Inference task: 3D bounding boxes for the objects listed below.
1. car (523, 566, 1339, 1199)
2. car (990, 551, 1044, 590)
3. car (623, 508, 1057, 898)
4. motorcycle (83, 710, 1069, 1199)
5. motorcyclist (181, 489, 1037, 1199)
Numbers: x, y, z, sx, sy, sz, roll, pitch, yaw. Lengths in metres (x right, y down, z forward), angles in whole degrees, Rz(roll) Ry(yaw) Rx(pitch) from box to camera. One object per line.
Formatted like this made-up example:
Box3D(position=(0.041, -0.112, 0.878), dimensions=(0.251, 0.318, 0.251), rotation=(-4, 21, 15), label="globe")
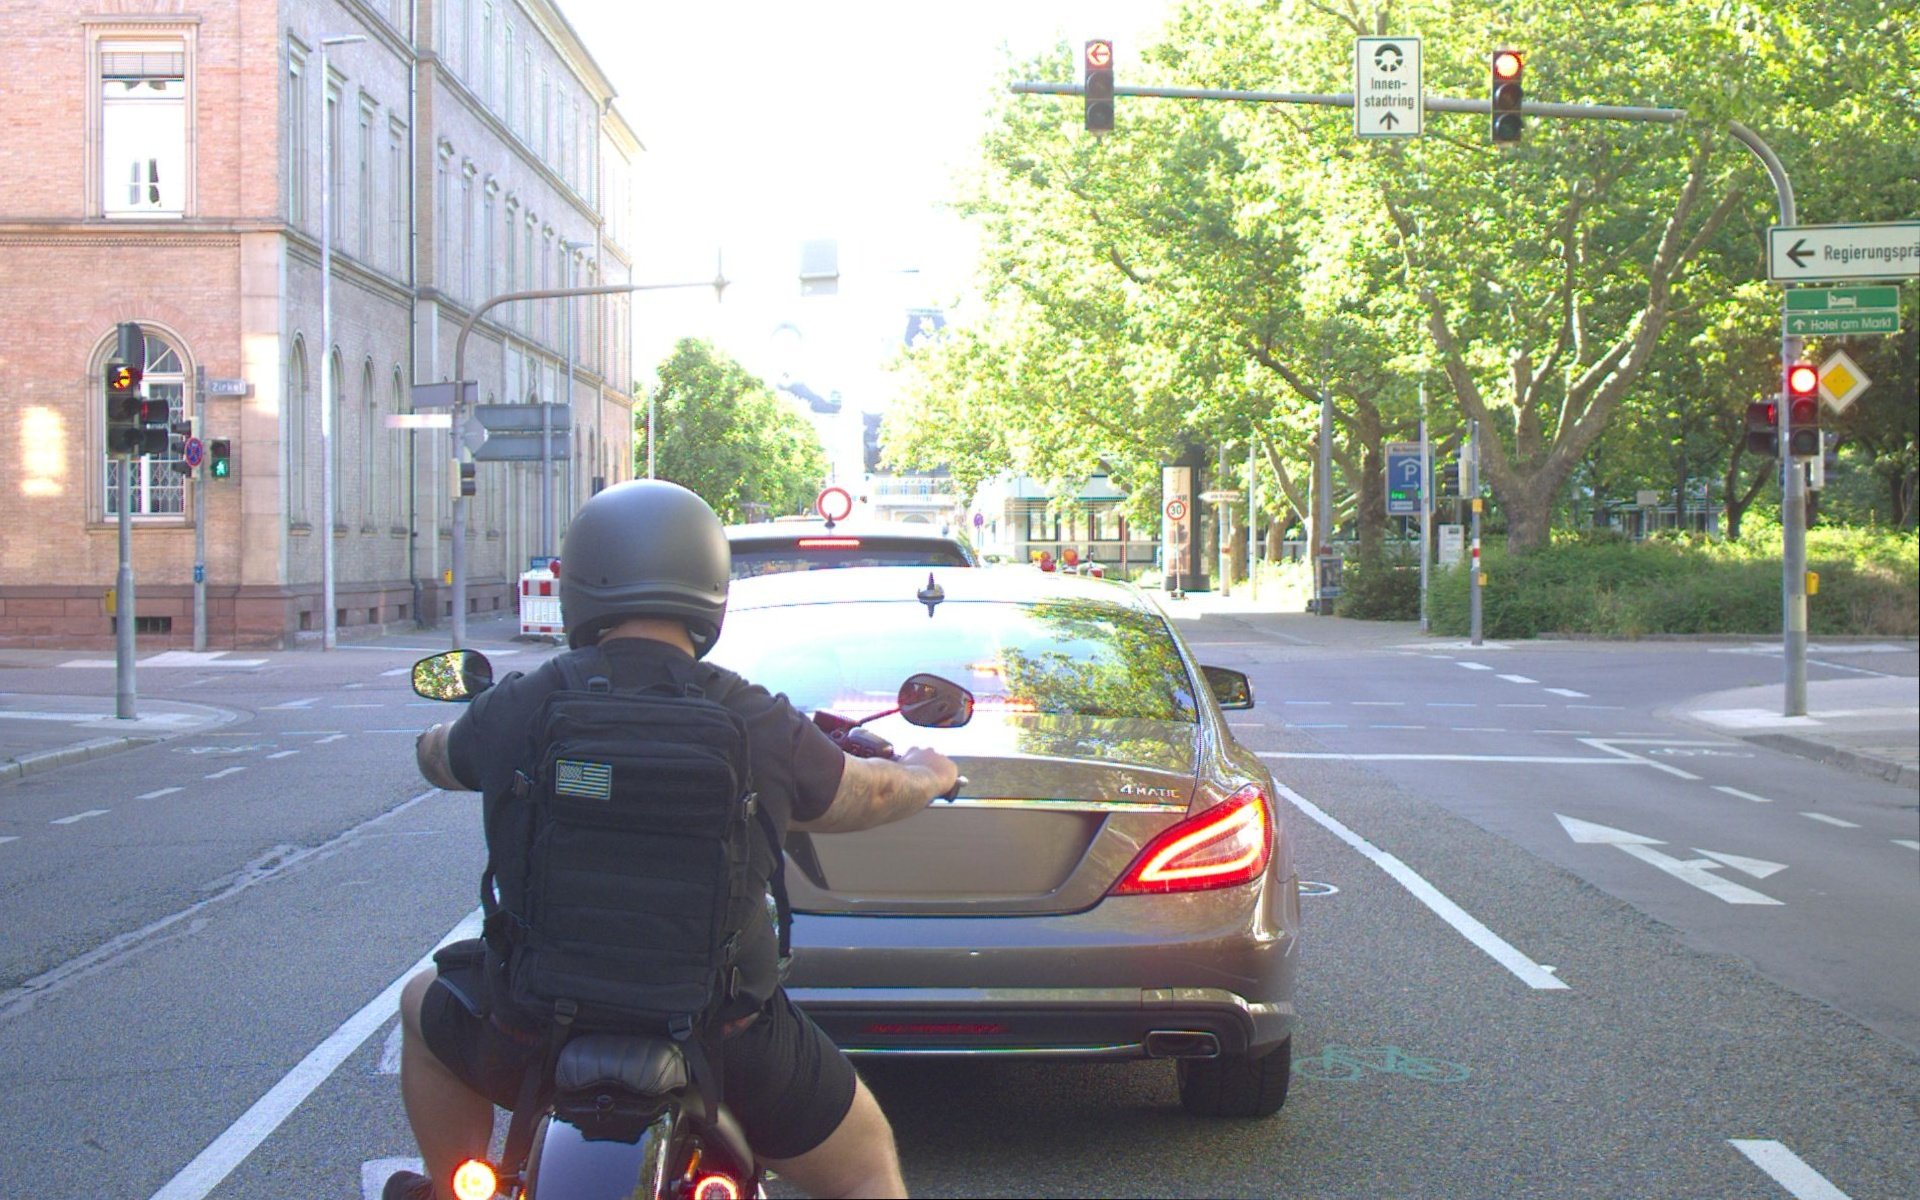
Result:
Box3D(position=(-0.086, 0.635, 9.661), dimensions=(1.822, 1.432, 3.806), rotation=(1, 1, -1), label="car")
Box3D(position=(1.858, -0.966, 112.710), dimensions=(1.631, 1.255, 3.716), rotation=(1, 1, -1), label="car")
Box3D(position=(-0.545, 0.429, 16.939), dimensions=(1.863, 1.672, 4.000), rotation=(1, 1, -1), label="car")
Box3D(position=(-0.469, 0.833, 5.496), dimensions=(1.118, 1.203, 2.212), rotation=(1, 1, 6), label="motorcycle")
Box3D(position=(-0.484, 0.629, 5.273), dimensions=(1.099, 1.560, 1.071), rotation=(1, 0, 6), label="motorcyclist")
